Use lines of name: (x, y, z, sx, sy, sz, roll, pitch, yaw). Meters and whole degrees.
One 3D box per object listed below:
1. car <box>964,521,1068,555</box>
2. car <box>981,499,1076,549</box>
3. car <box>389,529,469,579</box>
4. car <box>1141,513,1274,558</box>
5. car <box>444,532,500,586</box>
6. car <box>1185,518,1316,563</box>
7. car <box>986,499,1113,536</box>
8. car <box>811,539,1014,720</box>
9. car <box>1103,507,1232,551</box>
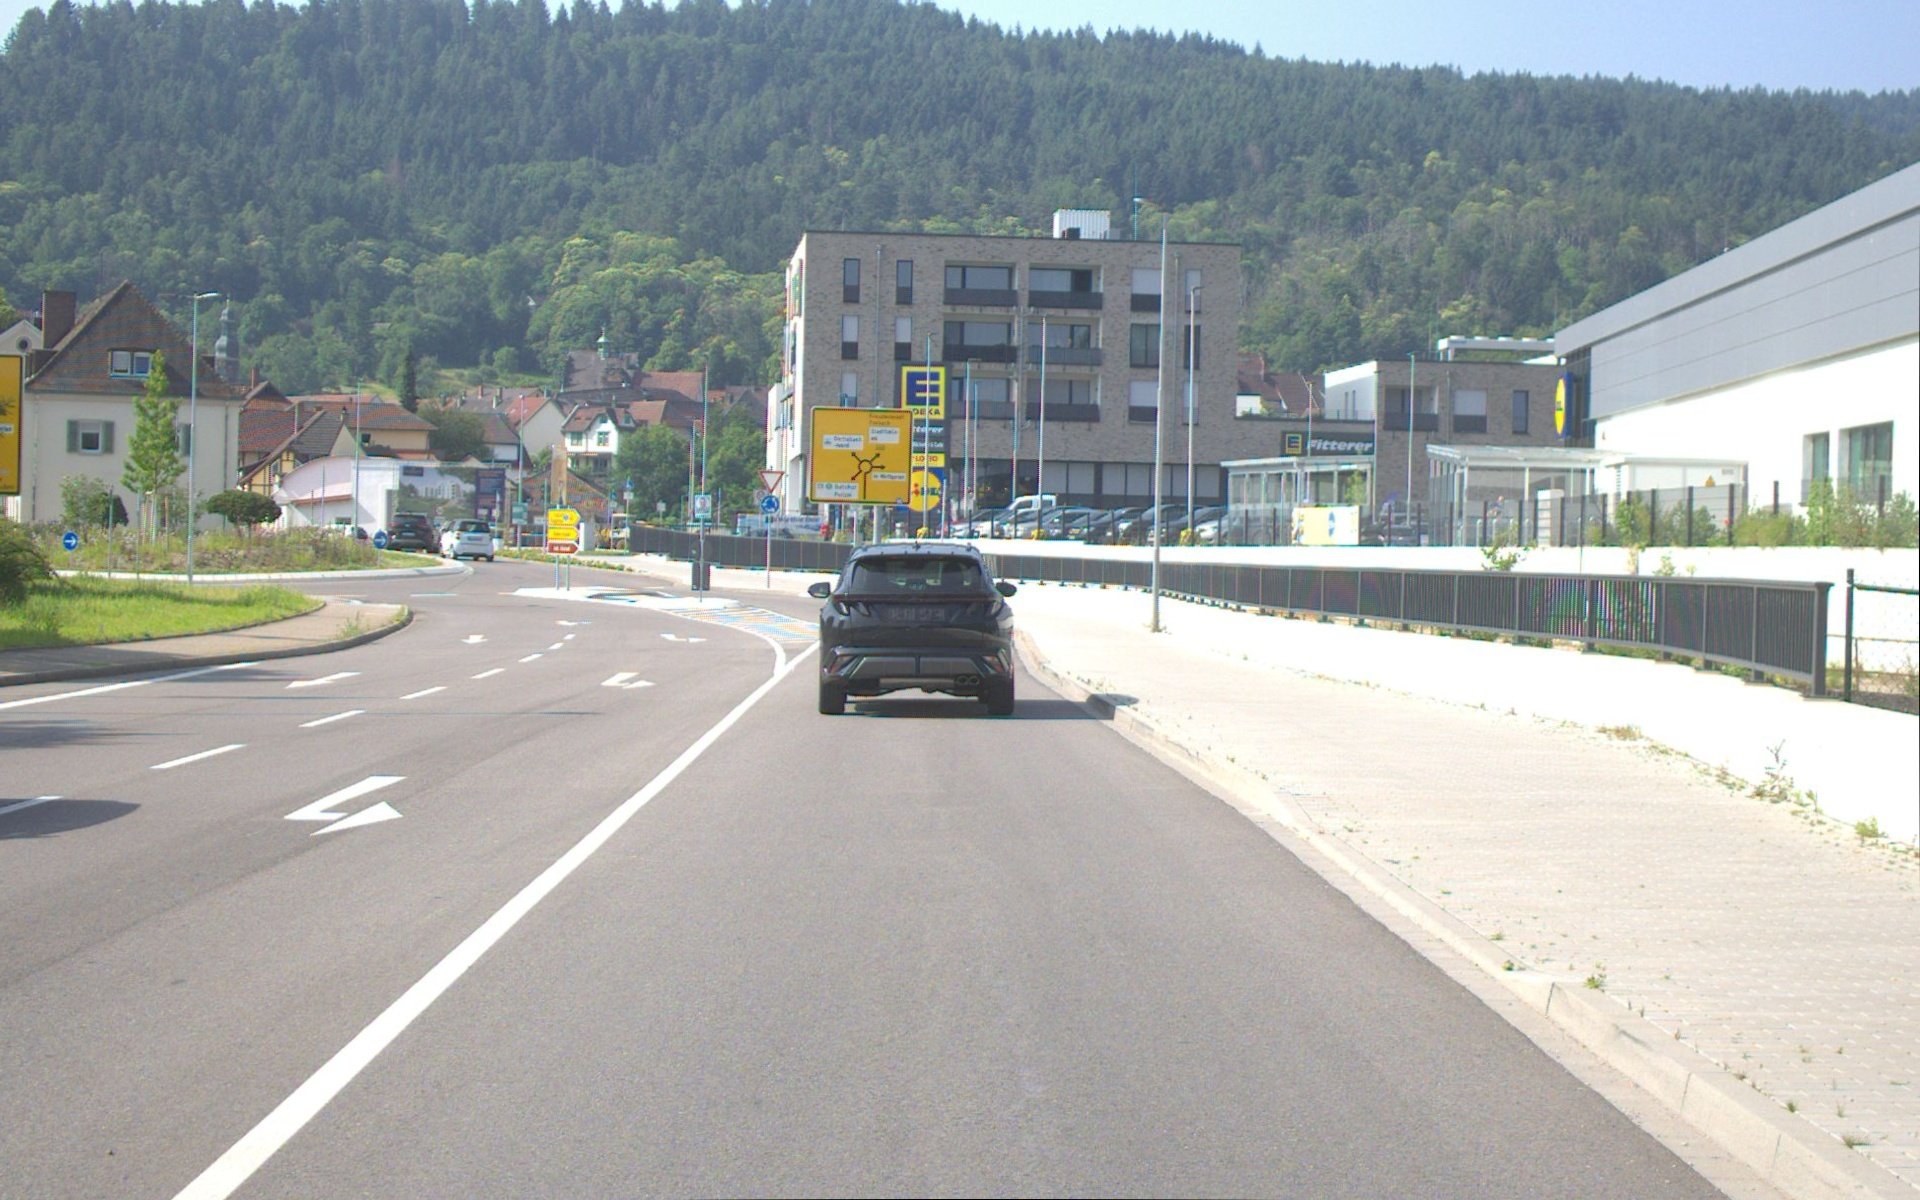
car: (2.118, -2.356, 130.924, 3.554, 1.195, 1.715, 1, 1, -19)
car: (2.940, -3.234, 146.788, 3.987, 2.128, 2.000, 0, 1, 2)
car: (-21.842, -1.898, 141.566, 1.994, 2.007, 3.998, 0, 1, 11)
car: (8.150, -2.134, 113.233, 4.060, 1.399, 1.486, 1, 1, -19)
car: (-18.421, -1.556, 129.841, 1.993, 2.007, 4.001, 0, 1, -7)
car: (9.297, -1.909, 110.138, 3.804, 1.359, 1.681, 1, 1, -19)
car: (3.259, -3.004, 125.388, 4.277, 1.241, 1.665, 1, 1, -19)
car: (-0.478, 0.251, 33.914, 1.881, 1.678, 4.000, 0, 1, -1)
car: (7.060, -2.406, 117.007, 4.004, 1.399, 1.726, 1, 1, -19)
